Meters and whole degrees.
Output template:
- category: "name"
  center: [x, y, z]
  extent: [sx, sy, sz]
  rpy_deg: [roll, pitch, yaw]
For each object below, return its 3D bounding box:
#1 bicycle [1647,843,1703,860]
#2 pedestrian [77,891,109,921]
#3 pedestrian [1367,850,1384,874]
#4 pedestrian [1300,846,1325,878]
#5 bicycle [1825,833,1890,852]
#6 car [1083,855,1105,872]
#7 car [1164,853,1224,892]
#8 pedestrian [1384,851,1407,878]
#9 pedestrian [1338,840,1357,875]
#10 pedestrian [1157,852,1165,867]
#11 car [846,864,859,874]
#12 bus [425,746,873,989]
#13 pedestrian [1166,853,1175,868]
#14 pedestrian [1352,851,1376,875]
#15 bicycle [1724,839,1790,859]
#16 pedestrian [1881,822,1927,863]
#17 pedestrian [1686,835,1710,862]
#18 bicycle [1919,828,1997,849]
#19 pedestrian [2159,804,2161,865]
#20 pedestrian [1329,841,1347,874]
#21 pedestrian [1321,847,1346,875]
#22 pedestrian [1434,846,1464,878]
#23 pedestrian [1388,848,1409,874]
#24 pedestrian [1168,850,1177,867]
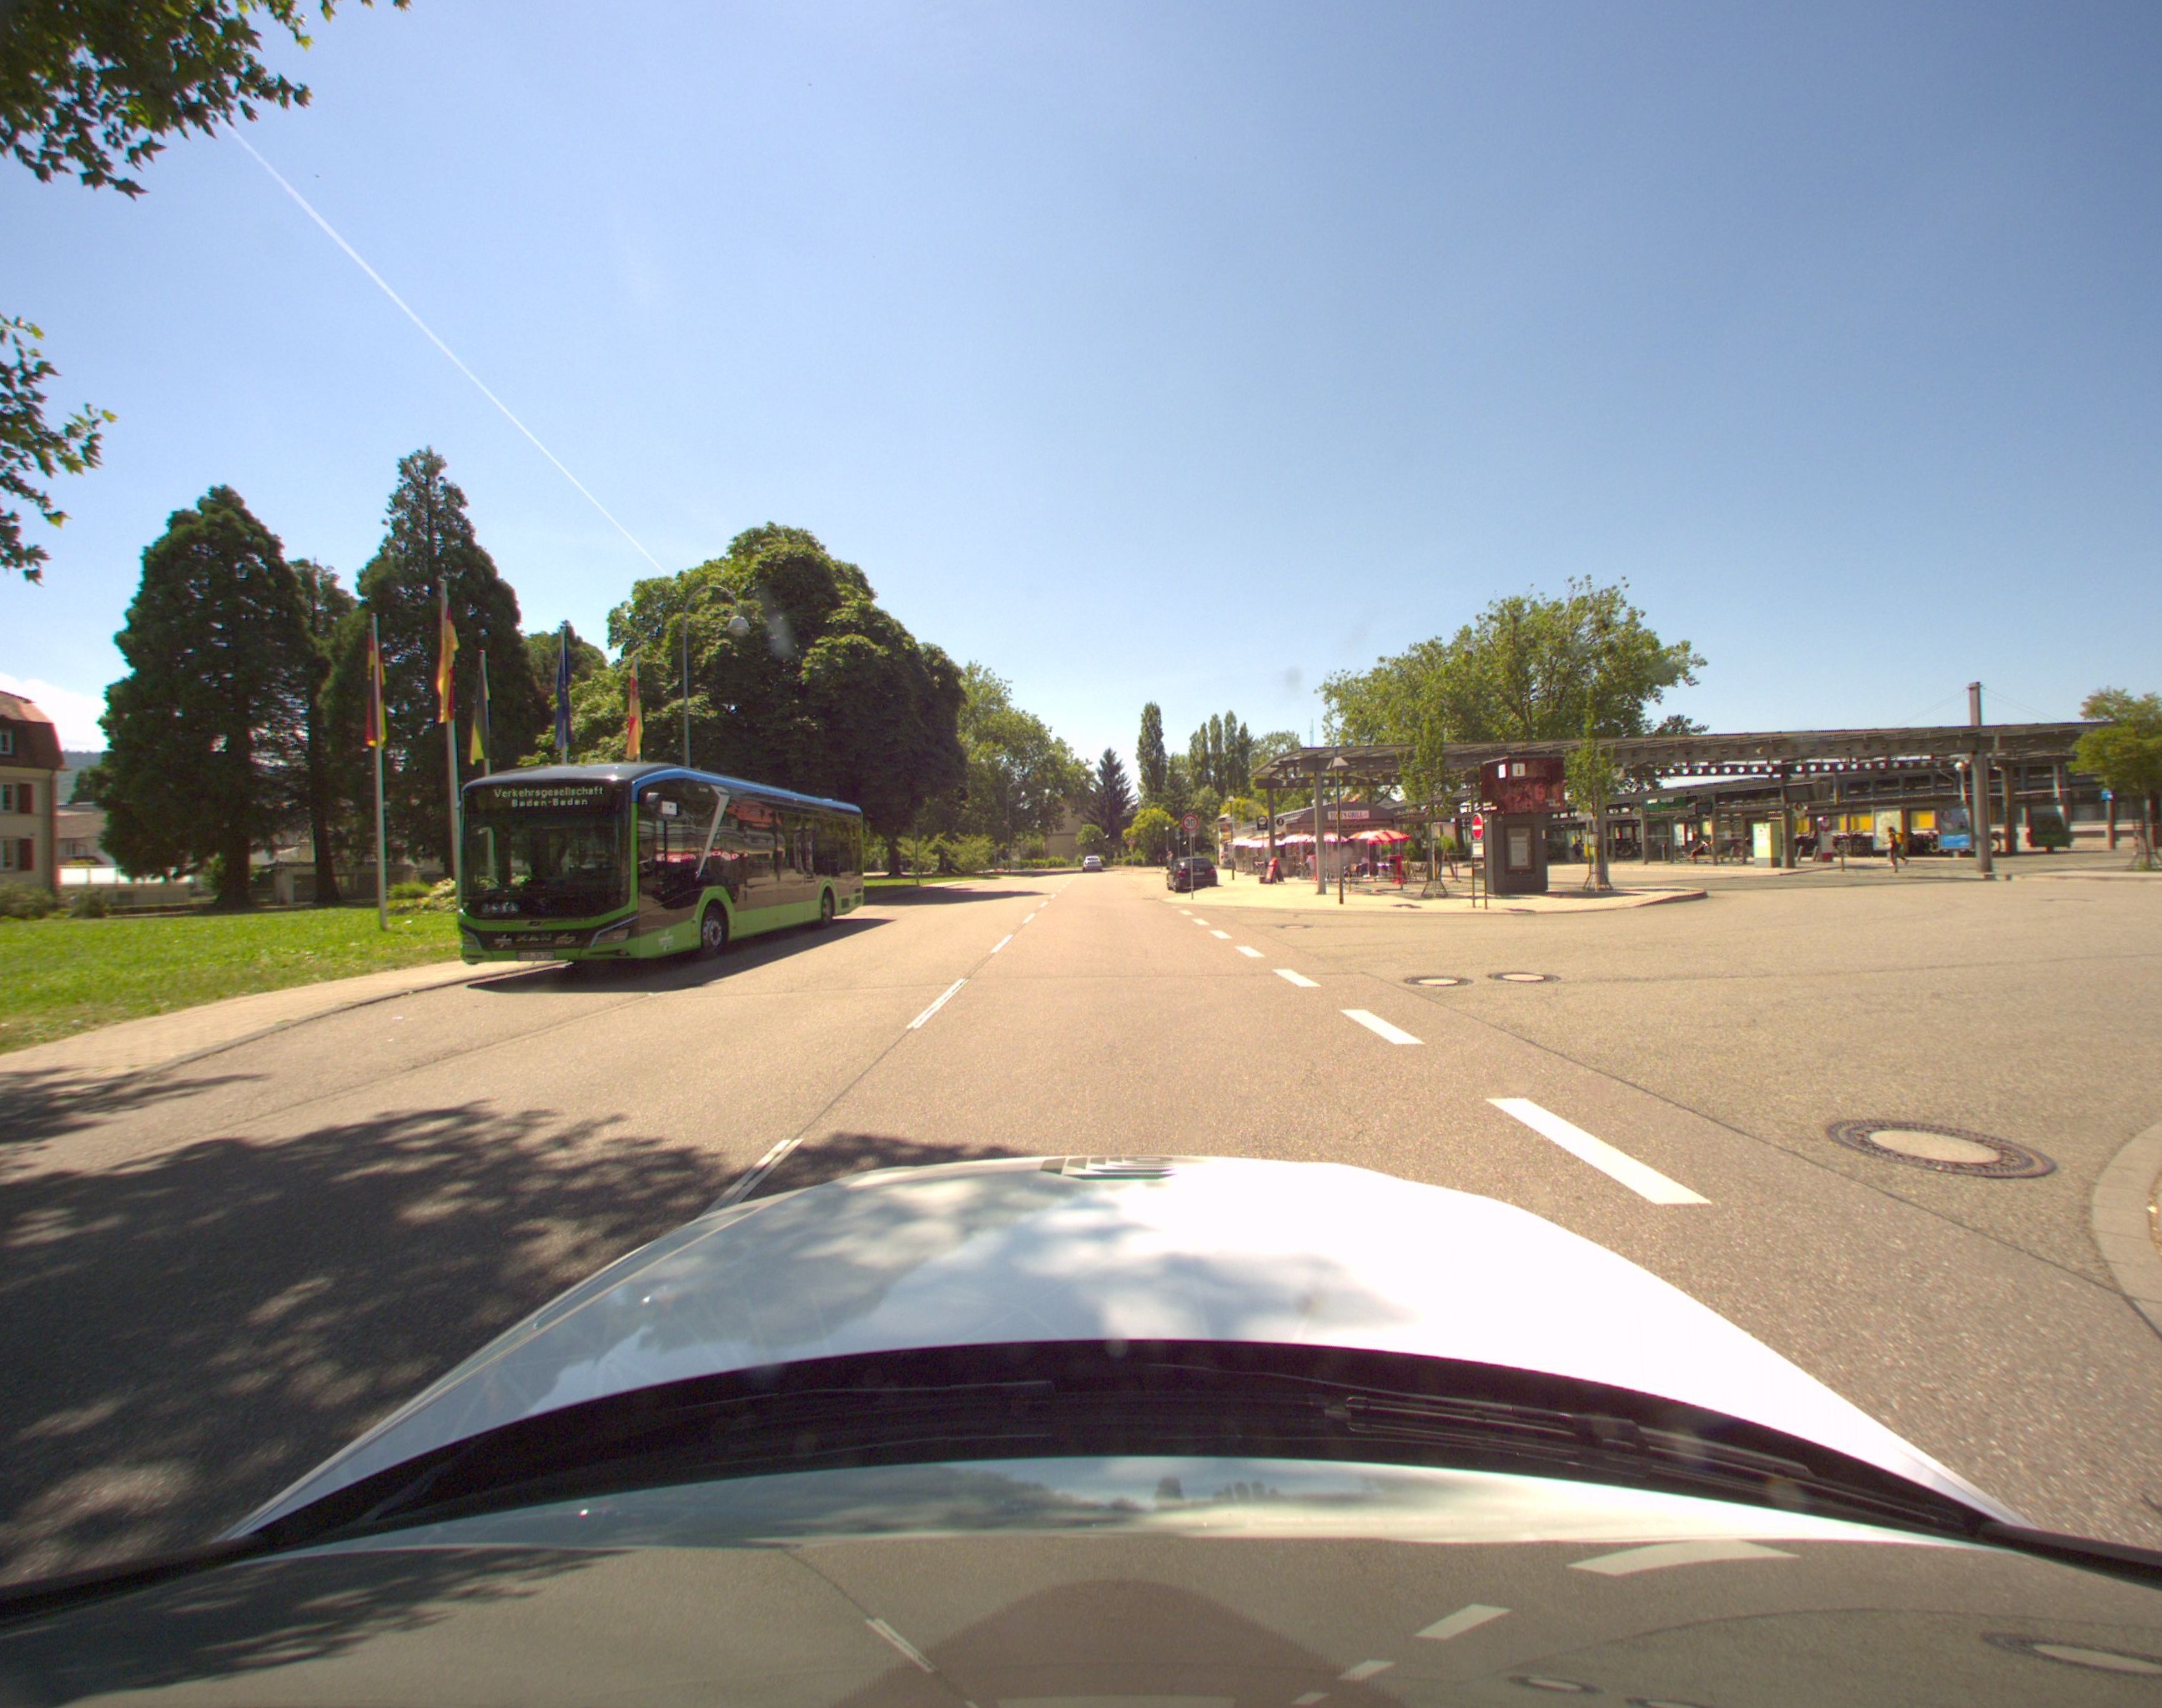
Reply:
- category: "bicycle"
  center: [34.965, -0.142, 47.960]
  extent: [2.779, 1.004, 0.811]
  rpy_deg: [0, -1, -2]
- category: "pedestrian"
  center: [-47.384, 2.485, 39.071]
  extent: [0.831, 1.371, 0.611]
  rpy_deg: [1, -2, -40]
- category: "pedestrian"
  center: [14.958, 0.397, 41.429]
  extent: [0.653, 1.205, 0.592]
  rpy_deg: [0, -1, 0]
- category: "pedestrian"
  center: [10.813, 0.372, 38.037]
  extent: [0.899, 1.418, 0.681]
  rpy_deg: [-1, -1, -37]
- category: "bicycle"
  center: [42.889, -0.653, 44.998]
  extent: [2.779, 1.004, 0.966]
  rpy_deg: [0, -1, -2]
- category: "car"
  center: [1.361, 0.931, 83.612]
  extent: [1.974, 1.627, 4.784]
  rpy_deg: [-2, 0, 4]
- category: "car"
  center: [4.895, 0.767, 35.903]
  extent: [1.921, 1.460, 4.724]
  rpy_deg: [-4, 0, 0]
- category: "pedestrian"
  center: [13.720, 0.446, 35.497]
  extent: [0.683, 1.161, 0.896]
  rpy_deg: [-2, 0, 5]
- category: "pedestrian"
  center: [13.560, 0.179, 41.445]
  extent: [0.684, 1.738, 0.707]
  rpy_deg: [-1, -1, 1]
- category: "pedestrian"
  center: [8.882, 0.657, 90.345]
  extent: [0.629, 1.650, 0.755]
  rpy_deg: [-2, -3, 29]
- category: "car"
  center: [-33.784, 2.266, 120.404]
  extent: [1.551, 1.410, 3.787]
  rpy_deg: [-2, 0, -11]
- category: "bus"
  center: [-7.580, 0.178, 17.506]
  extent: [2.799, 3.283, 12.425]
  rpy_deg: [-2, 0, 1]
- category: "pedestrian"
  center: [10.127, 0.722, 91.899]
  extent: [0.713, 1.650, 0.755]
  rpy_deg: [-2, -3, 29]
- category: "pedestrian"
  center: [13.744, 0.431, 39.521]
  extent: [0.898, 1.161, 0.681]
  rpy_deg: [-1, 0, -34]
- category: "bicycle"
  center: [34.890, -0.239, 42.060]
  extent: [2.779, 1.004, 0.811]
  rpy_deg: [0, -1, -2]
- category: "pedestrian"
  center: [32.659, -0.451, 32.340]
  extent: [0.920, 1.590, 0.856]
  rpy_deg: [-2, 0, -1]
- category: "pedestrian"
  center: [32.151, -0.279, 42.425]
  extent: [0.623, 1.395, 0.676]
  rpy_deg: [-3, -1, 0]
- category: "bicycle"
  center: [42.458, -0.747, 39.450]
  extent: [2.779, 1.004, 0.966]
  rpy_deg: [0, -1, -2]
- category: "pedestrian"
  center: [32.352, -0.579, 23.840]
  extent: [0.682, 1.809, 0.635]
  rpy_deg: [-2, 0, 22]
- category: "pedestrian"
  center: [13.580, 0.178, 42.978]
  extent: [0.684, 1.738, 0.707]
  rpy_deg: [-2, -1, 1]
- category: "pedestrian"
  center: [12.286, 0.348, 39.625]
  extent: [0.898, 1.312, 0.681]
  rpy_deg: [-1, -1, -34]
- category: "pedestrian"
  center: [15.193, 0.337, 33.607]
  extent: [0.841, 1.277, 0.896]
  rpy_deg: [-2, 0, 5]
- category: "pedestrian"
  center: [15.302, 0.343, 39.231]
  extent: [0.756, 1.205, 0.737]
  rpy_deg: [0, -1, 0]
- category: "pedestrian"
  center: [10.836, 0.538, 96.423]
  extent: [0.852, 1.965, 0.805]
  rpy_deg: [-2, 0, -2]
